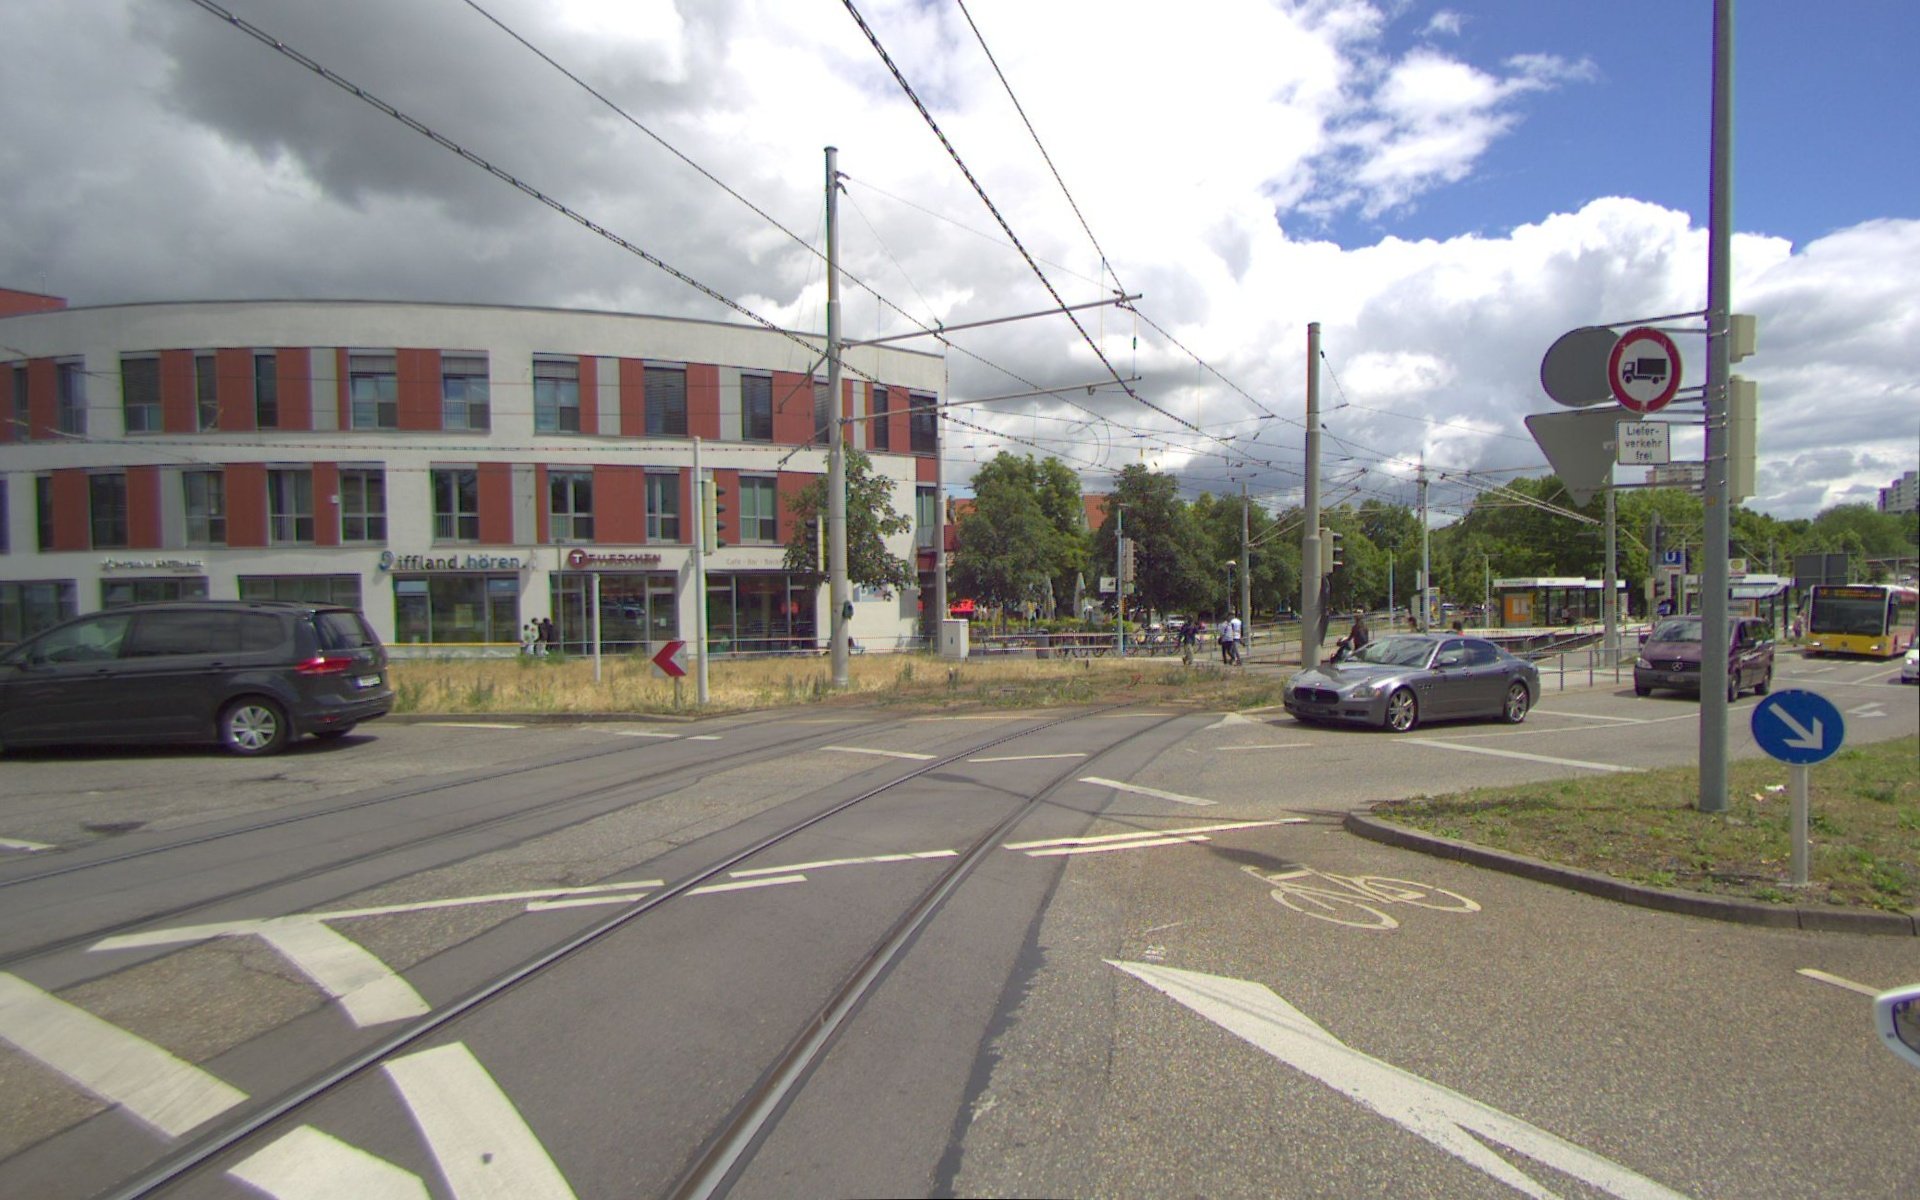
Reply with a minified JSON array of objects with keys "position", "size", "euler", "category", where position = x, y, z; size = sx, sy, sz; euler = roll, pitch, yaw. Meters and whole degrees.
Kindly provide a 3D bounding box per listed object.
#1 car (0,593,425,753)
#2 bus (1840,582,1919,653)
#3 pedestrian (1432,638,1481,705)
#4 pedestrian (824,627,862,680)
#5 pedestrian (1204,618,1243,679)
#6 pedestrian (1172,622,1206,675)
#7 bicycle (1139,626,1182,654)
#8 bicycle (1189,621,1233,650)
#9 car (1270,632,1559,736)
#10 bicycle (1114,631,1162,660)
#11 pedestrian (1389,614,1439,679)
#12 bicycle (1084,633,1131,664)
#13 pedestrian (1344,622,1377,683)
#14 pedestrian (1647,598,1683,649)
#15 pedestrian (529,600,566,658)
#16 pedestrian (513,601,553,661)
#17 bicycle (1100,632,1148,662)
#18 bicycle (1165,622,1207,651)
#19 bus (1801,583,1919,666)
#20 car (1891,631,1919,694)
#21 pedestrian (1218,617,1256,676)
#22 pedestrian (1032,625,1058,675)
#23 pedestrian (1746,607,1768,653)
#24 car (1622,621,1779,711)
[{"position":[-8.555,0.774,11.134],"size":[4.218,1.601,1.809],"euler":[1,-1,-9],"category":"car"},{"position":[45.631,0.723,49.206],"size":[8.894,3.111,2.701],"euler":[-1,1,-42],"category":"bus"},{"position":[12.305,1.749,24.893],"size":[0.829,1.561,0.792],"euler":[1,2,-43],"category":"pedestrian"},{"position":[-4.646,2.087,39.758],"size":[1.125,2.040,1.248],"euler":[1,-1,-28],"category":"pedestrian"},{"position":[8.203,1.484,31.256],"size":[0.765,1.846,0.900],"euler":[0,-1,-38],"category":"pedestrian"},{"position":[7.173,1.522,31.484],"size":[0.821,1.625,0.668],"euler":[0,-2,36],"category":"pedestrian"},{"position":[8.032,1.599,40.377],"size":[0.685,1.043,1.892],"euler":[1,-1,-26],"category":"bicycle"},{"position":[10.363,1.455,41.491],"size":[0.685,1.112,1.892],"euler":[-2,0,-27],"category":"bicycle"},{"position":[7.404,1.287,16.177],"size":[4.997,1.429,1.788],"euler":[2,-2,-32],"category":"car"},{"position":[7.024,1.776,39.648],"size":[0.688,1.077,1.883],"euler":[1,-1,-39],"category":"bicycle"},{"position":[11.848,1.189,26.219],"size":[0.912,1.658,0.855],"euler":[1,-1,-38],"category":"pedestrian"},{"position":[5.623,1.834,38.360],"size":[0.686,1.112,1.888],"euler":[0,-1,-32],"category":"bicycle"},{"position":[11.049,1.437,27.694],"size":[0.819,1.617,0.642],"euler":[1,-1,22],"category":"pedestrian"},{"position":[28.685,0.964,40.868],"size":[1.020,2.040,0.963],"euler":[1,-1,-39],"category":"pedestrian"},{"position":[-14.912,1.039,36.365],"size":[1.121,2.040,1.253],"euler":[1,-1,-18],"category":"pedestrian"},{"position":[-14.817,1.057,34.870],"size":[1.121,2.040,1.253],"euler":[1,-1,-18],"category":"pedestrian"},{"position":[6.332,1.803,38.937],"size":[0.688,1.112,1.885],"euler":[1,-1,-37],"category":"bicycle"},{"position":[9.167,1.467,40.763],"size":[0.601,1.112,1.892],"euler":[0,-1,-27],"category":"bicycle"},{"position":[38.665,0.894,43.001],"size":[9.628,3.151,2.701],"euler":[-1,1,-42],"category":"bus"},{"position":[28.585,1.811,29.253],"size":[4.045,1.671,1.685],"euler":[0,1,-40],"category":"car"},{"position":[8.819,1.462,31.977],"size":[0.765,1.846,0.900],"euler":[0,-1,-38],"category":"pedestrian"},{"position":[3.061,1.803,36.276],"size":[0.658,1.758,0.834],"euler":[0,-1,28],"category":"pedestrian"},{"position":[35.838,1.336,45.141],"size":[0.695,2.040,0.823],"euler":[-1,-1,44],"category":"pedestrian"},{"position":[17.561,1.483,23.723],"size":[5.034,1.846,1.975],"euler":[2,-1,-42],"category":"car"}]
